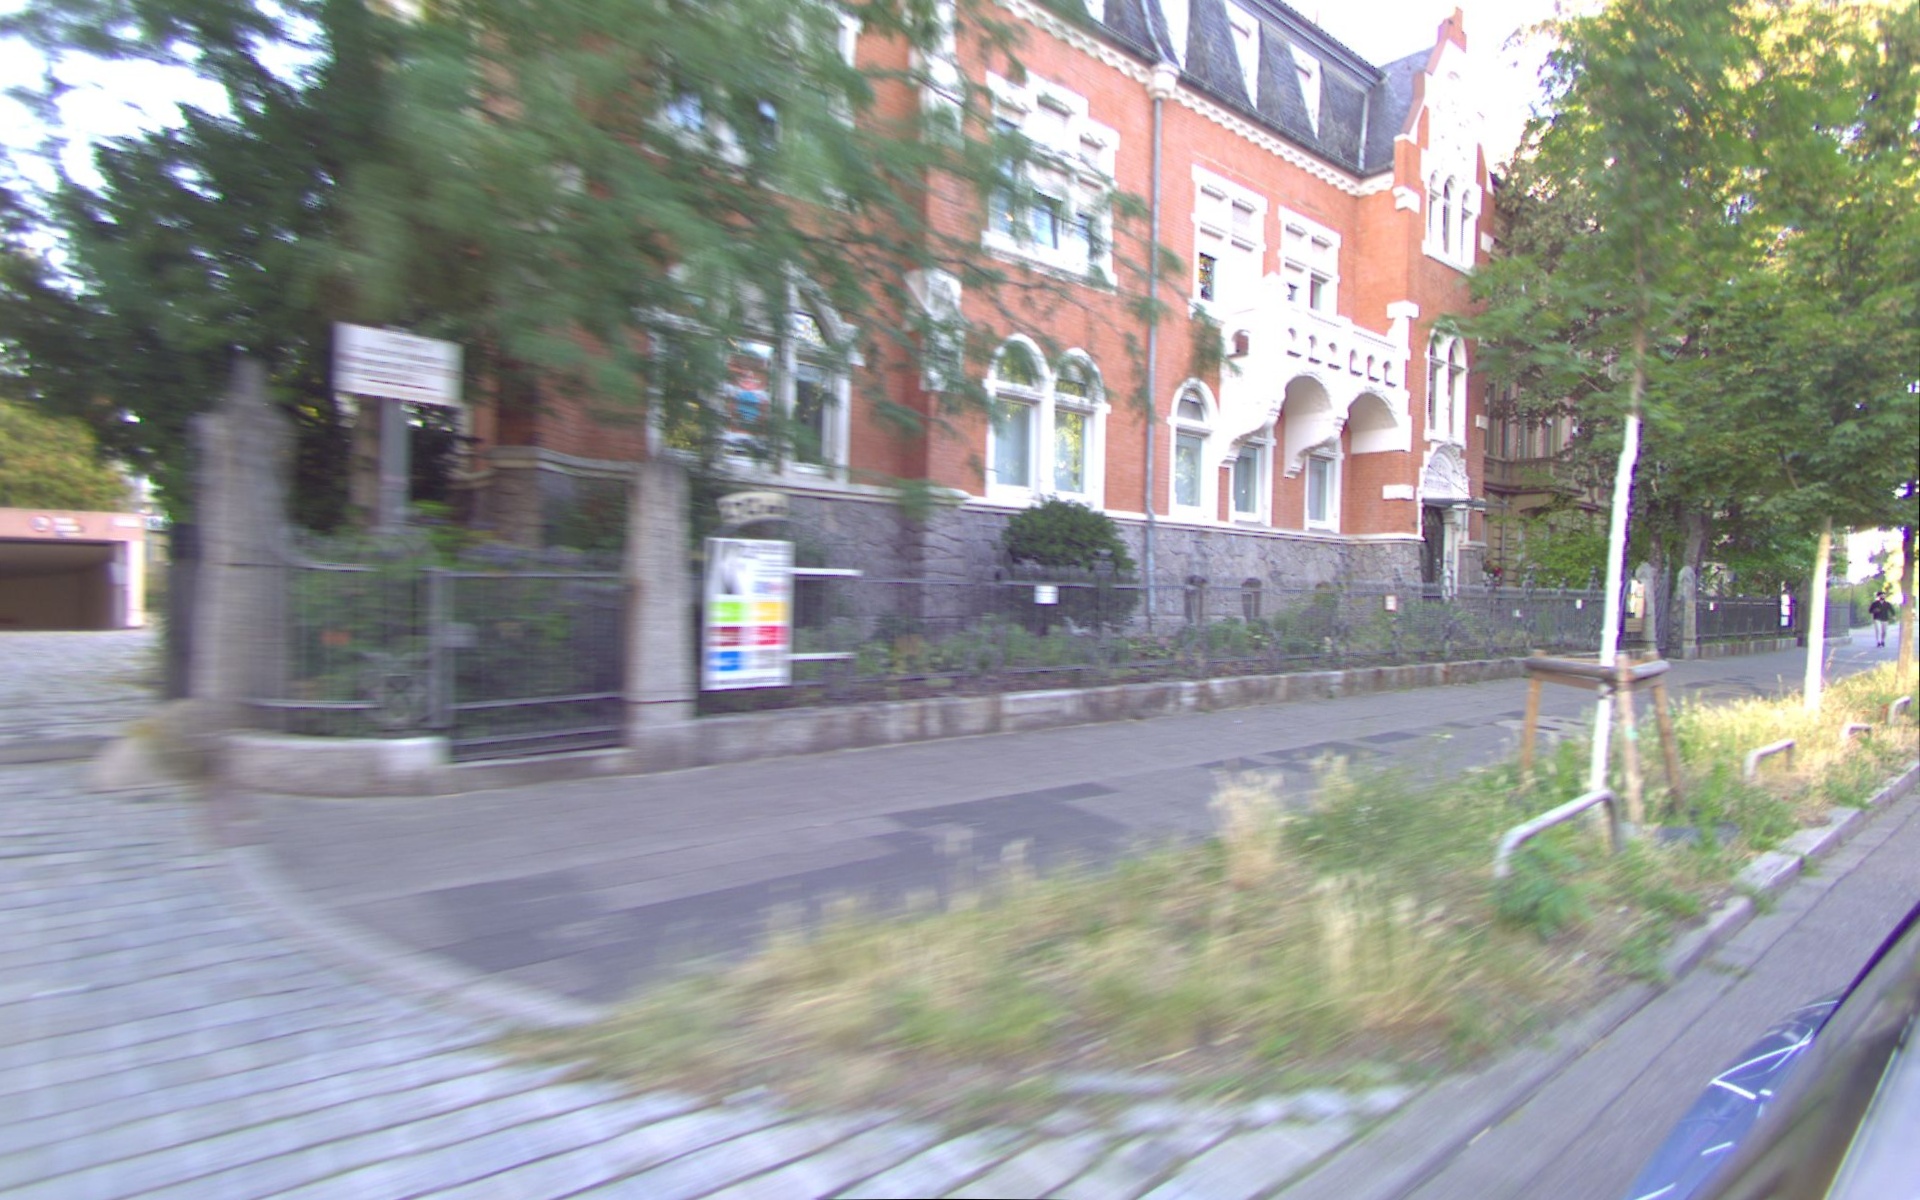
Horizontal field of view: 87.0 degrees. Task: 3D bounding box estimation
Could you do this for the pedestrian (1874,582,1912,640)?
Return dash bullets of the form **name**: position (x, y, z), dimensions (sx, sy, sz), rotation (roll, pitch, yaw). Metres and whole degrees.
- **pedestrian**: position (30.050, 0.343, 32.584), dimensions (0.818, 1.800, 0.746), rotation (0, 4, -45)
